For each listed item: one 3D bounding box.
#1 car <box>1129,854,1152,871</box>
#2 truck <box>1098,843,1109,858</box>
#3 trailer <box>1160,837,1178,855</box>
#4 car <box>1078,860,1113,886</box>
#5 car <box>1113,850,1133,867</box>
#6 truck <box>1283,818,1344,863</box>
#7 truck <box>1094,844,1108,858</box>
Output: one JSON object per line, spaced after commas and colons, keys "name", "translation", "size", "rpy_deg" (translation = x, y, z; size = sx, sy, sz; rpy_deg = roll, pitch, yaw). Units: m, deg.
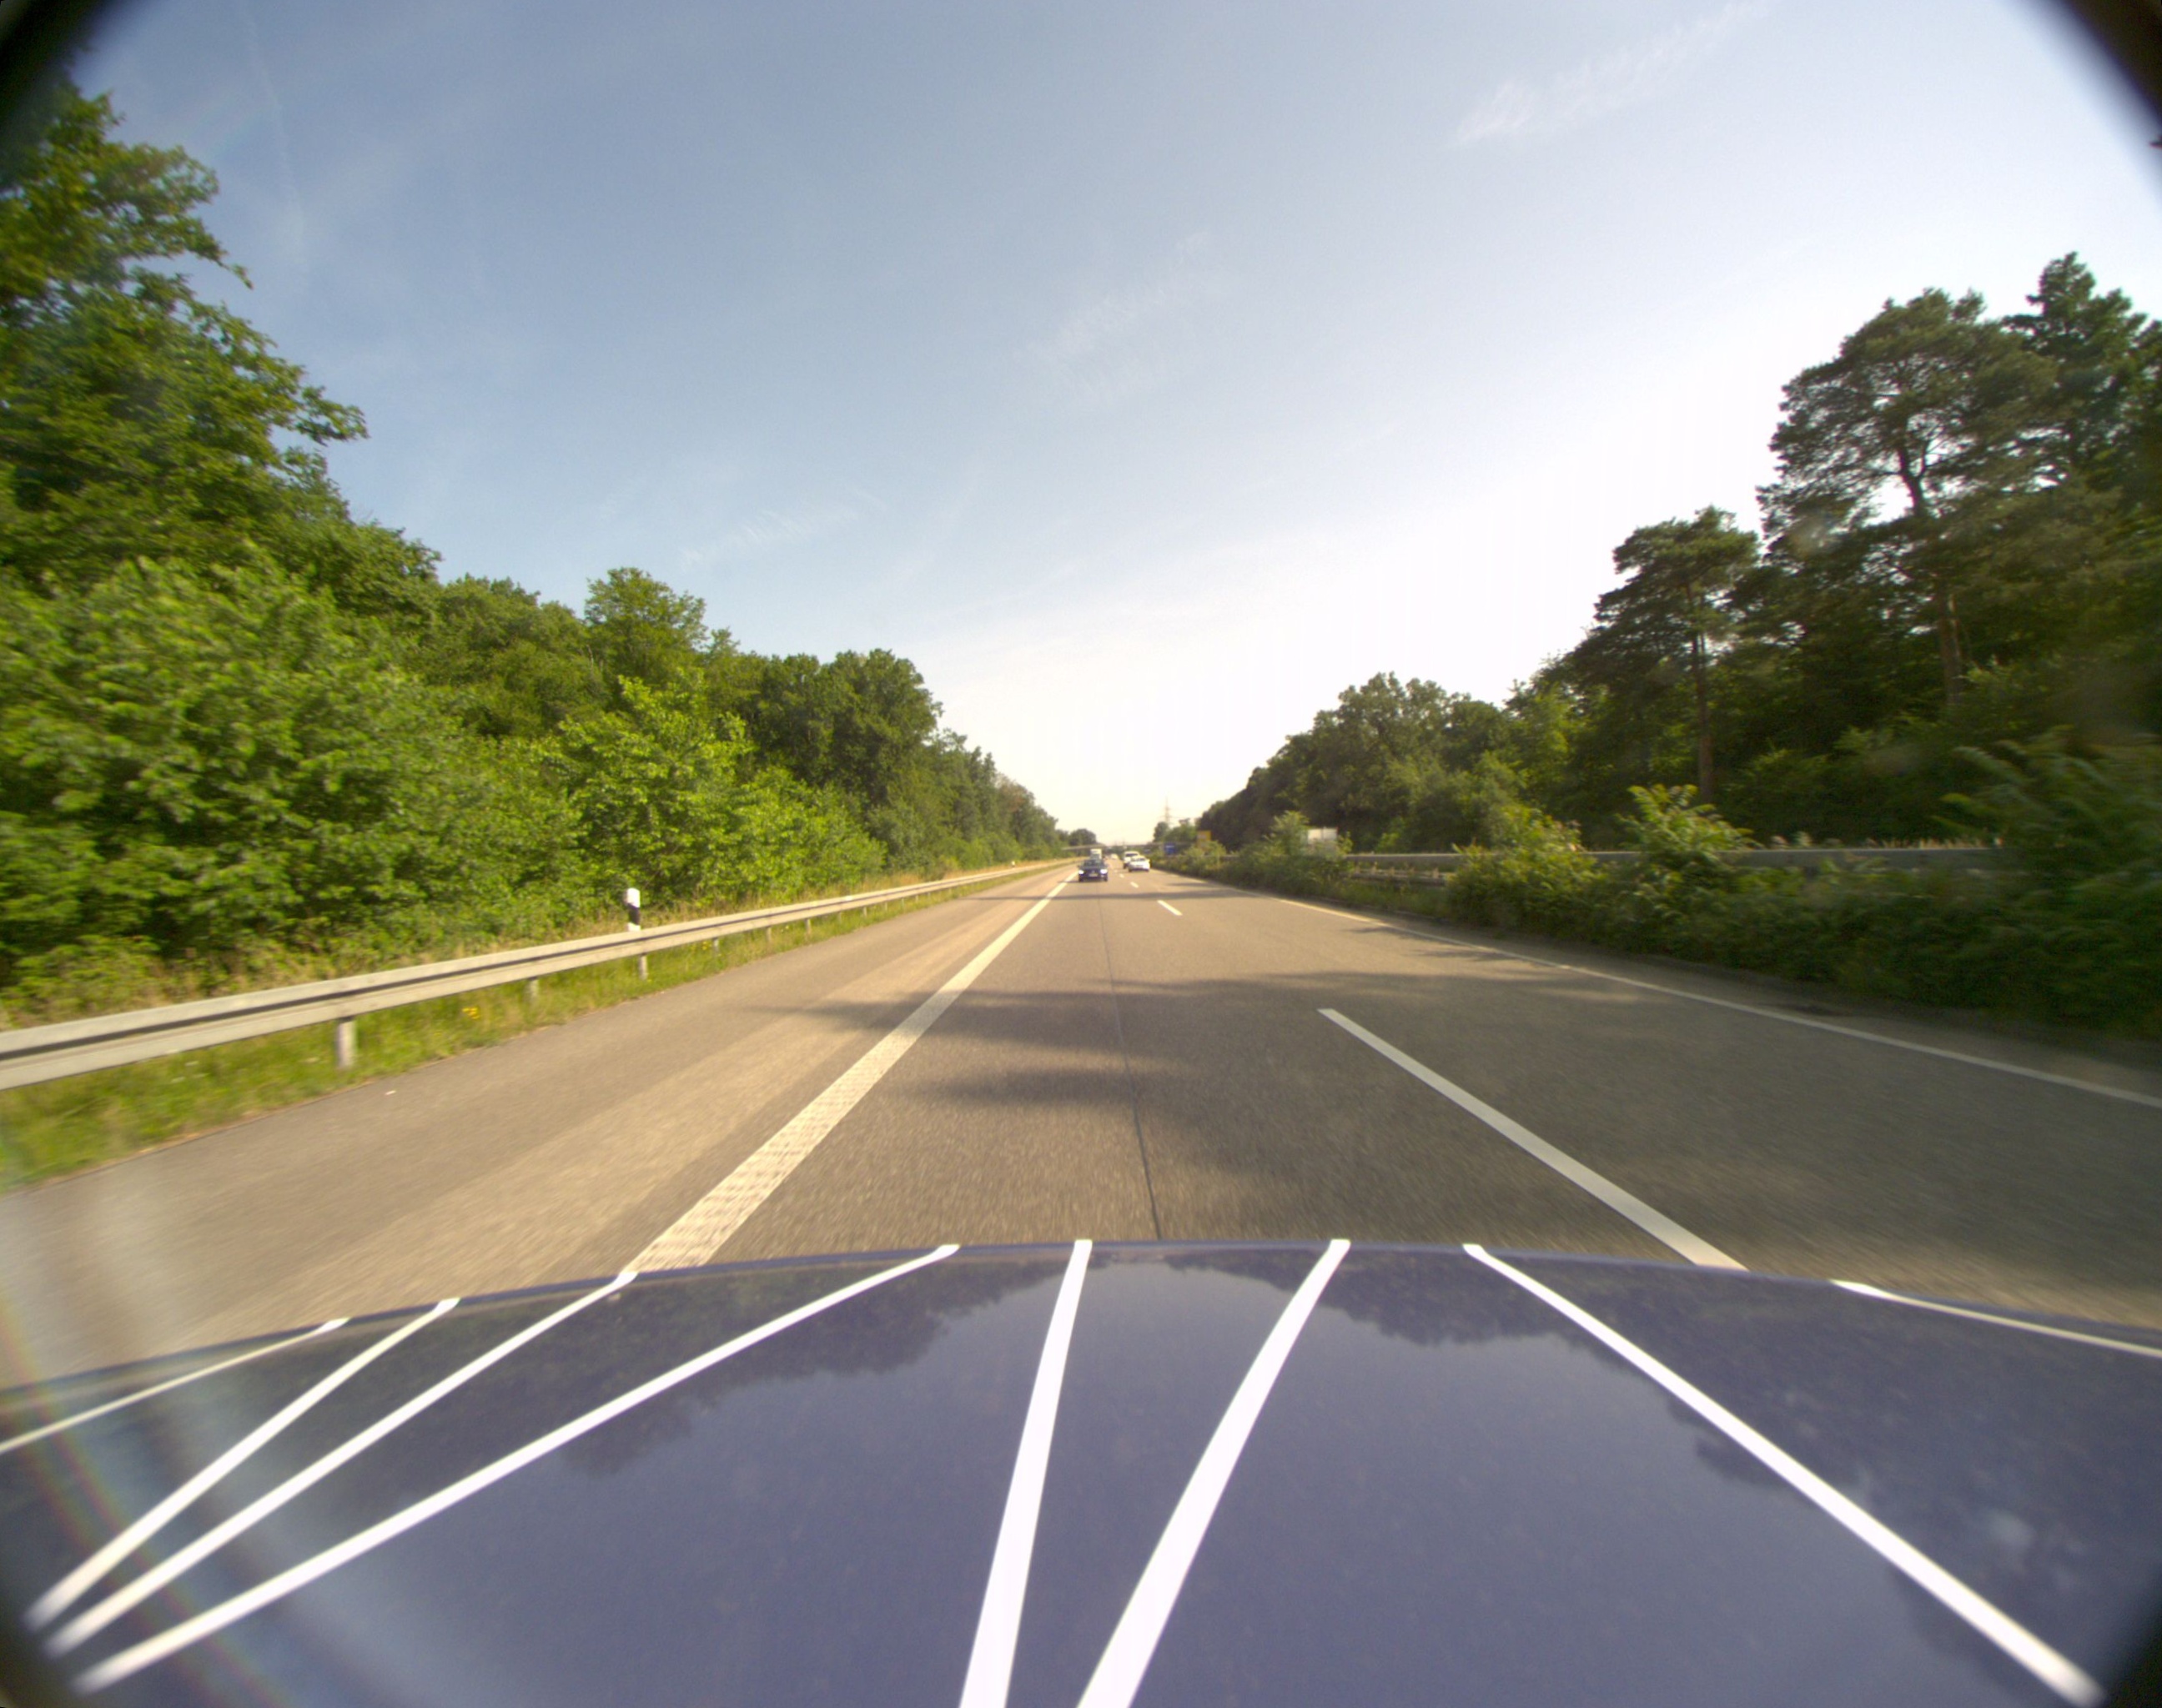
{"name": "car", "translation": [5.421, 0.747, 70.025], "size": [1.754, 1.477, 5.264], "rpy_deg": [-2, 0, 1]}
{"name": "truck", "translation": [6.510, -1.077, 223.241], "size": [2.695, 4.061, 12.363], "rpy_deg": [-2, 0, -1]}
{"name": "trailer", "translation": [19.977, -1.747, 173.918], "size": [2.899, 3.985, 13.324], "rpy_deg": [0, 0, 2]}
{"name": "car", "translation": [0.778, 0.997, 41.693], "size": [1.789, 1.285, 3.538], "rpy_deg": [-2, 0, 0]}
{"name": "car", "translation": [4.849, 0.505, 88.242], "size": [1.912, 1.934, 4.705], "rpy_deg": [-2, 0, -2]}
{"name": "truck", "translation": [17.364, -0.936, 57.281], "size": [2.468, 3.158, 7.227], "rpy_deg": [0, 0, 1]}
{"name": "truck", "translation": [4.351, -0.722, 170.421], "size": [2.695, 3.020, 10.370], "rpy_deg": [-2, 0, -1]}
